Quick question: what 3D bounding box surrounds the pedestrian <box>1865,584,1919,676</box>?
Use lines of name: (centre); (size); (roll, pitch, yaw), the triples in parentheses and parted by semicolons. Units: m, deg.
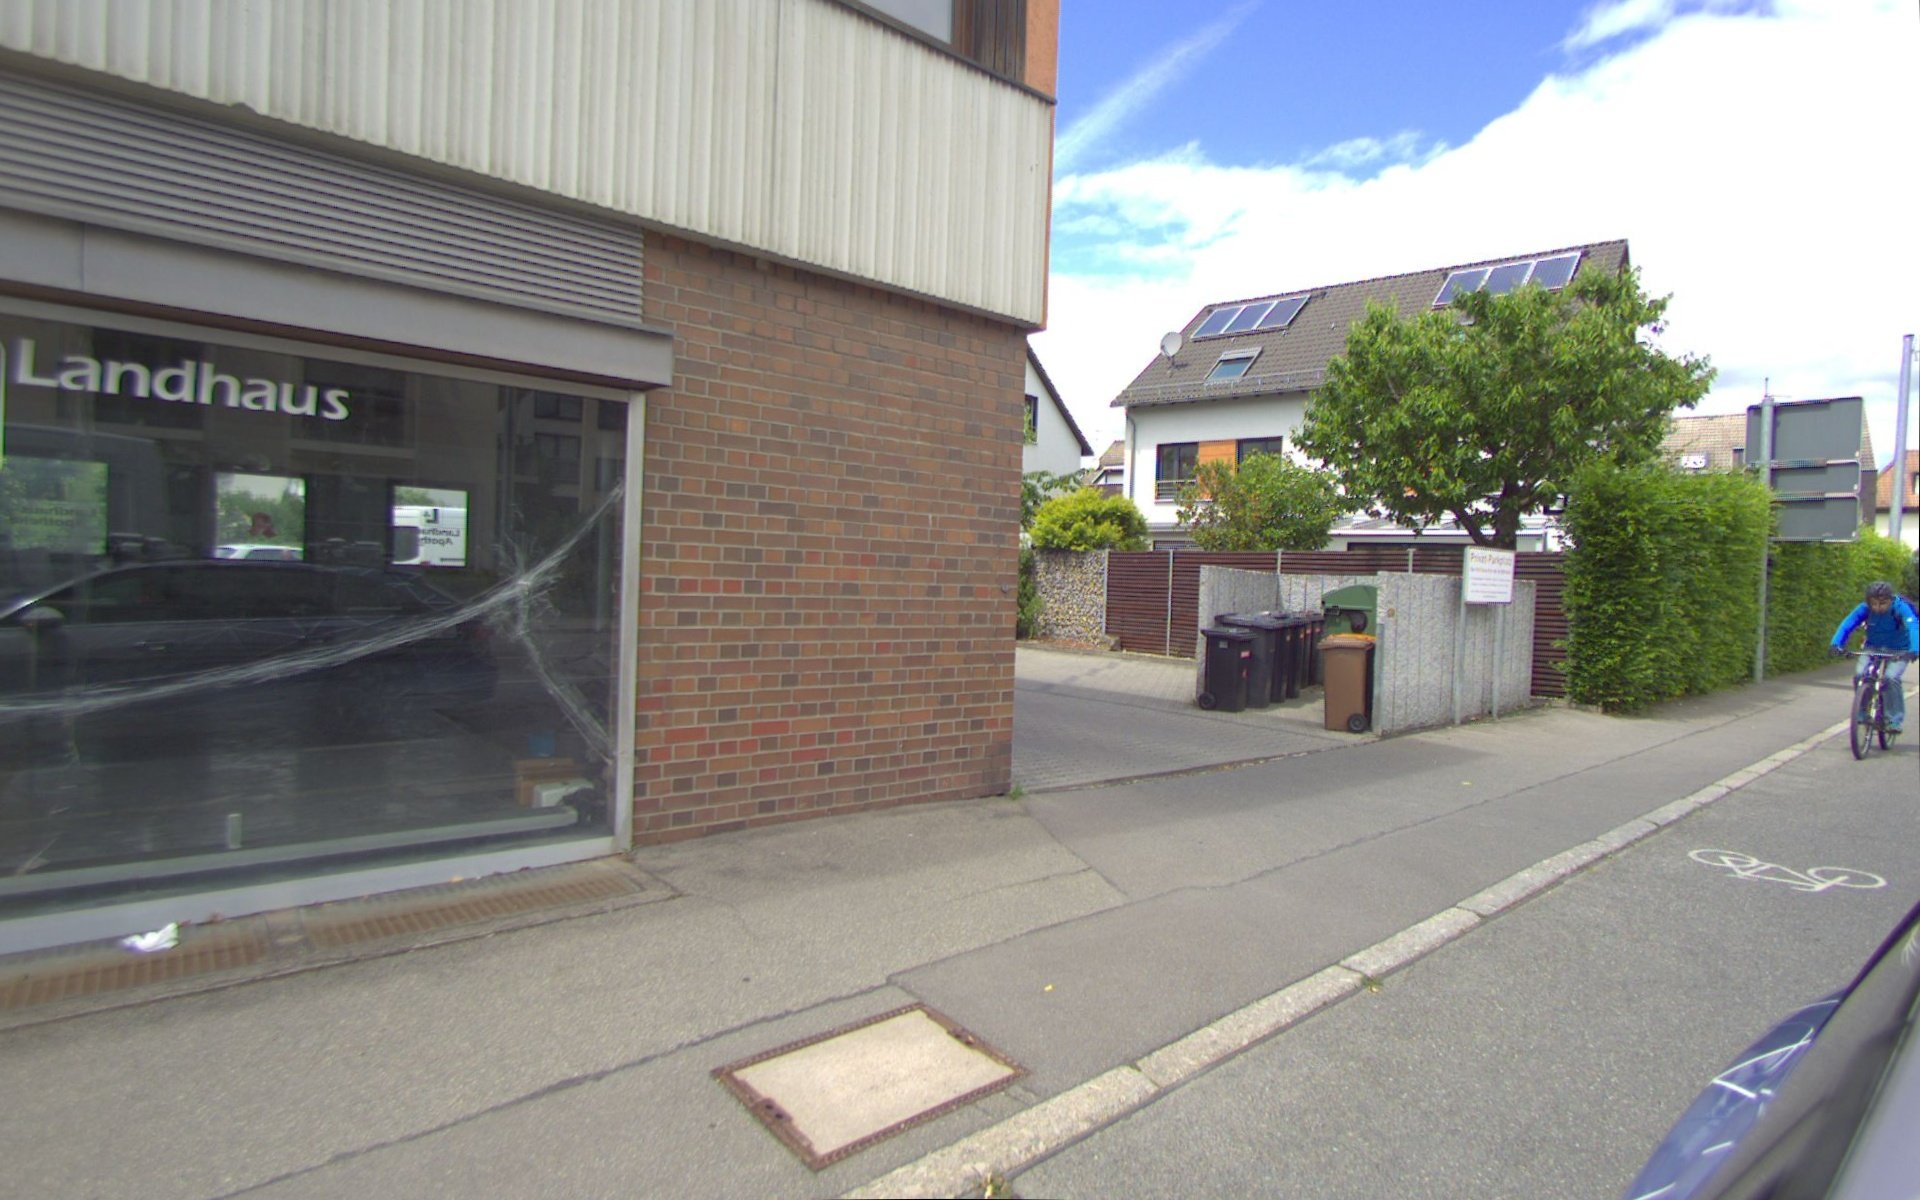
pedestrian: (17.398, 0.540, 18.722); (0.641, 1.637, 0.801); (1, 3, -39)

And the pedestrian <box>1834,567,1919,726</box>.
pedestrian: (9.396, 0.441, 10.207); (0.856, 1.536, 0.735); (0, 1, -41)

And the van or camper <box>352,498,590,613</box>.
van or camper: (-12.057, -1.069, 25.466); (2.034, 2.574, 5.474); (2, 2, 21)

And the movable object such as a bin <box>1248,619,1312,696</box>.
movable object such as a bin: (4.023, 0.713, 12.722); (0.630, 0.903, 0.534); (1, 1, 33)

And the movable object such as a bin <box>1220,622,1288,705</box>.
movable object such as a bin: (3.429, 0.722, 11.806); (0.630, 0.903, 0.534); (1, 1, 33)

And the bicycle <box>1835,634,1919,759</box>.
bicycle: (9.389, 0.912, 10.155); (2.366, 1.058, 0.536); (0, 1, -40)

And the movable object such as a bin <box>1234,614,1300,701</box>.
movable object such as a bin: (3.722, 0.681, 12.268); (0.624, 0.979, 0.534); (1, 1, 33)

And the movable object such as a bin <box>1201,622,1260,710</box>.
movable object such as a bin: (3.051, 0.725, 11.392); (0.490, 0.924, 0.534); (1, 1, 33)

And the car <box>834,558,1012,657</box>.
car: (-0.558, 0.079, 18.341); (1.768, 1.555, 3.767); (2, 2, 23)

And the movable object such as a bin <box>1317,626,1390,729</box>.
movable object such as a bin: (3.998, 0.765, 10.272); (0.530, 0.963, 0.678); (1, 1, 36)

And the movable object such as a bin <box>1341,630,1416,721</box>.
movable object such as a bin: (4.485, 0.790, 10.850); (0.532, 0.903, 0.668); (2, 1, 43)

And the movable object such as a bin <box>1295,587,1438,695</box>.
movable object such as a bin: (5.299, 0.490, 13.186); (1.509, 1.278, 1.190); (0, 1, -43)
